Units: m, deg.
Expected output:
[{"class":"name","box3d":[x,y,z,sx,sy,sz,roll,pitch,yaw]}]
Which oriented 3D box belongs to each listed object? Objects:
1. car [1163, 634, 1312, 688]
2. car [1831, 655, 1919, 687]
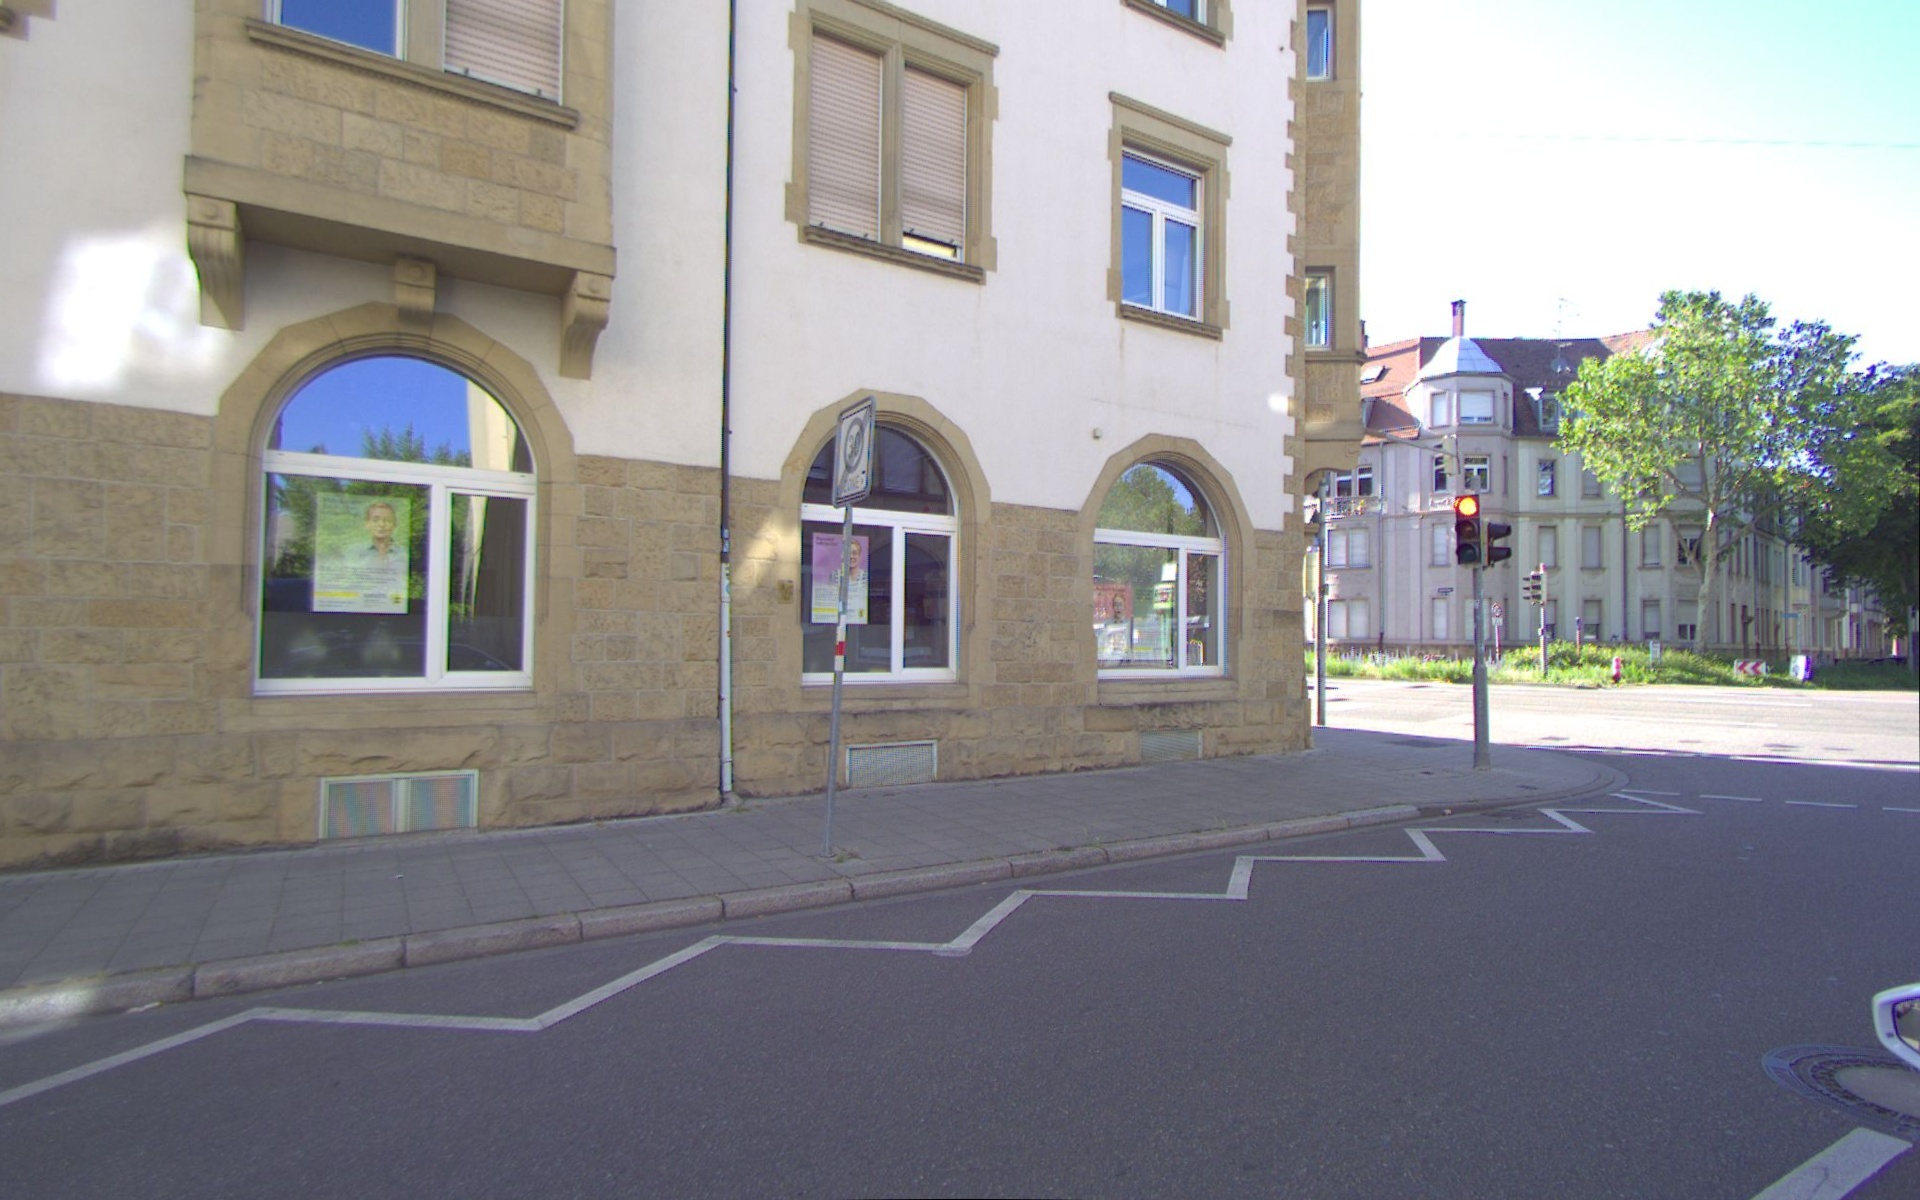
[{"class":"car","box3d":[8.356,1.809,30.403,3.944,1.336,1.812,2,-1,43]},{"class":"car","box3d":[45.867,3.486,49.831,3.943,1.505,1.673,-2,-3,42]}]
